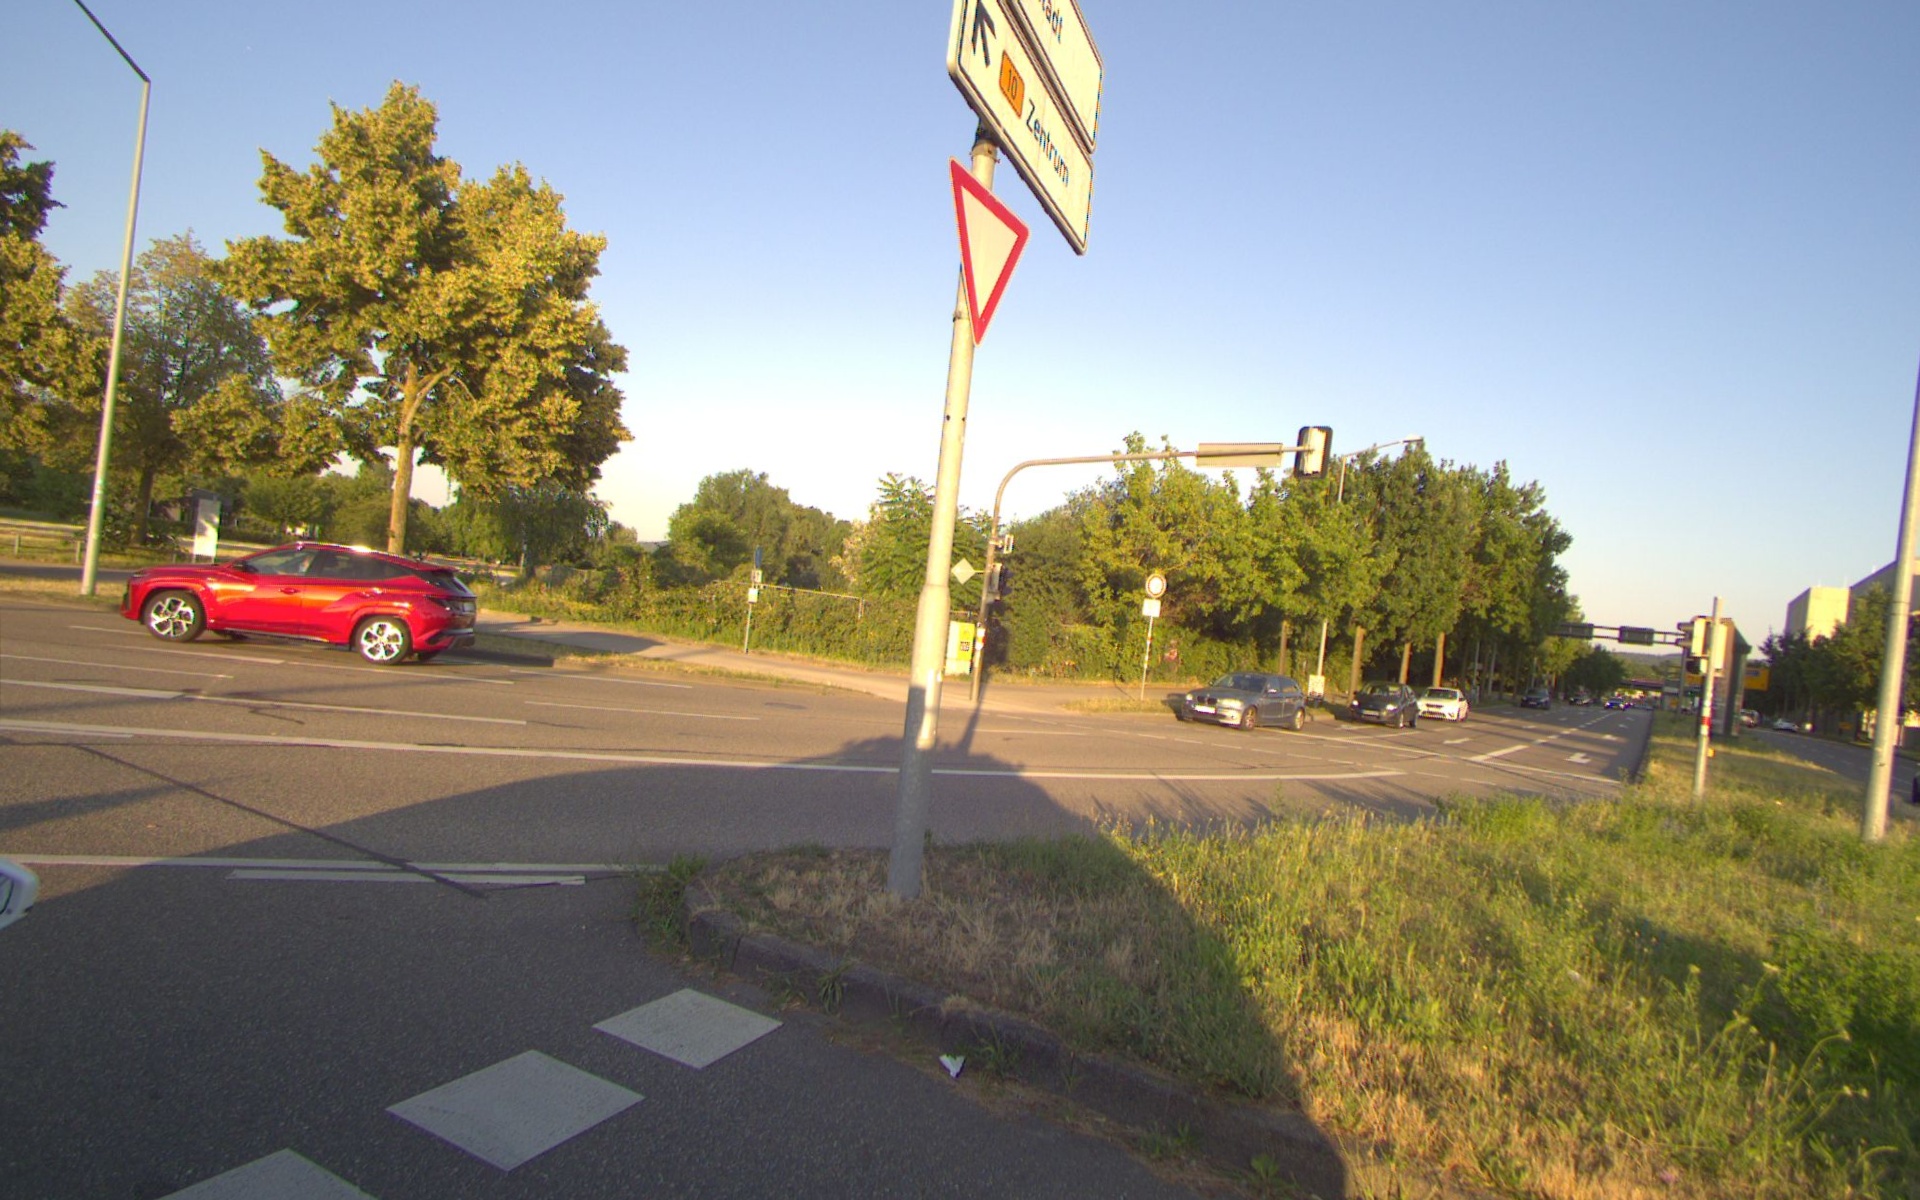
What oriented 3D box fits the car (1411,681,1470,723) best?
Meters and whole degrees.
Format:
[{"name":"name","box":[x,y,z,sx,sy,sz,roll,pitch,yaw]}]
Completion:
[{"name":"car","box":[20.833,4.368,43.519,1.837,1.471,3.965,7,-1,31]}]

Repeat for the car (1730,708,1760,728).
[{"name":"car","box":[75.880,11.411,97.271,1.969,1.648,3.989,7,-1,35]}]

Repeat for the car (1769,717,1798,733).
[{"name":"car","box":[92.449,13.986,112.917,1.968,1.444,4.188,7,-1,34]}]

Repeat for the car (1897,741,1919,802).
[{"name":"car","box":[24.184,4.357,24.022,1.661,1.437,3.993,11,1,32]}]

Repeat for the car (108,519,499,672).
[{"name":"car","box":[-9.587,-0.037,15.113,4.343,1.592,1.996,7,0,-12]}]

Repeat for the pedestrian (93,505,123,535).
[{"name":"pedestrian","box":[-51.881,-4.886,61.246,0.896,1.637,1.070,7,0,34]}]

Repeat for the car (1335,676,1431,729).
[{"name":"car","box":[14.370,3.485,34.075,1.840,1.471,4.147,6,-1,39]}]

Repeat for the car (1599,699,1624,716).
[{"name":"car","box":[69.888,11.497,107.924,1.969,1.523,4.758,7,-1,35]}]

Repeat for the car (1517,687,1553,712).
[{"name":"car","box":[44.592,7.743,77.966,1.886,1.602,4.169,7,-1,35]}]

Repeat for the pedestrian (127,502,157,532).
[{"name":"pedestrian","box":[-50.019,-5.063,61.511,0.896,1.637,1.070,7,0,34]}]

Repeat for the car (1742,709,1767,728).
[{"name":"car","box":[95.030,14.156,120.358,2.037,1.970,4.945,7,-1,37]}]

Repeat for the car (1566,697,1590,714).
[{"name":"car","box":[67.895,11.614,110.511,1.968,1.523,4.610,7,-1,34]}]

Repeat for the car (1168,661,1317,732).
[{"name":"car","box":[7.073,2.423,24.963,1.842,1.406,4.144,5,-2,42]}]
